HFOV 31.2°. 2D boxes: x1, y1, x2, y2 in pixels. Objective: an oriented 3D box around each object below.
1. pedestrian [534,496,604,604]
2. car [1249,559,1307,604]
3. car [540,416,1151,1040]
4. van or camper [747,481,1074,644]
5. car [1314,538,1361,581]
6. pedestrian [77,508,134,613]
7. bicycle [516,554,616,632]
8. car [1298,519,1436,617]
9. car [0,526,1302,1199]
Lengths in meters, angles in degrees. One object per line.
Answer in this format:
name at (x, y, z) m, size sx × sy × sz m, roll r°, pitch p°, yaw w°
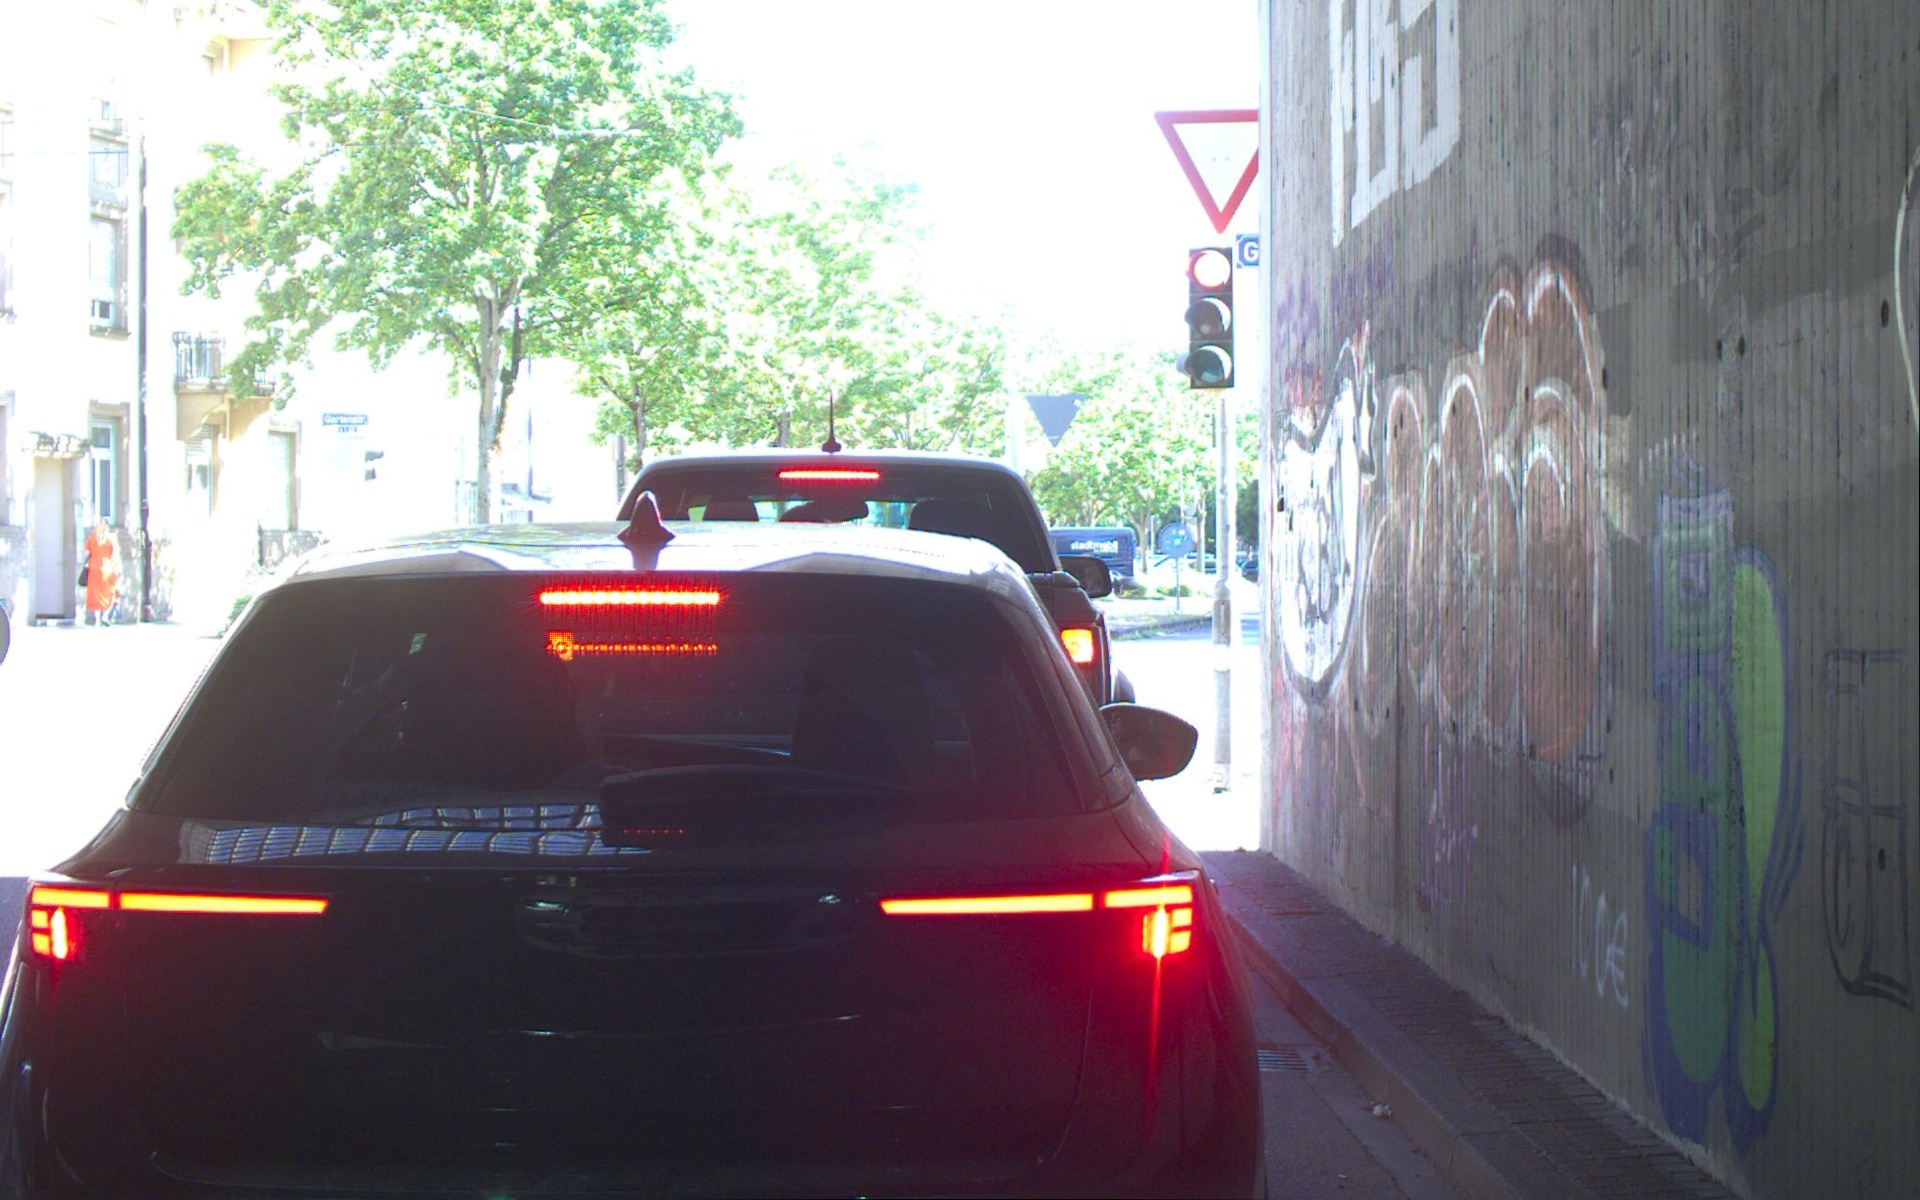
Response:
pedestrian at (-5.840, -0.747, 51.412) m, size 0.736 × 1.579 × 0.889 m, roll 1°, pitch 0°, yaw 15°
car at (10.677, -0.633, 115.324) m, size 1.599 × 1.447 × 3.794 m, roll 0°, pitch 1°, yaw 10°
car at (-0.355, 0.341, 12.135) m, size 1.786 × 1.827 × 3.961 m, roll 1°, pitch 1°, yaw 0°
van or camper at (-0.591, -0.475, 43.424) m, size 3.878 × 2.007 × 2.000 m, roll 0°, pitch 1°, yaw 7°
car at (14.704, -1.578, 133.708) m, size 1.584 × 1.634 × 3.804 m, roll 0°, pitch 1°, yaw 10°
pedestrian at (-14.022, -0.641, 56.431) m, size 0.623 × 1.699 × 0.723 m, roll 1°, pitch 0°, yaw 14°
bicycle at (-5.866, -0.113, 51.337) m, size 0.737 × 1.126 × 2.025 m, roll 0°, pitch 1°, yaw 17°
car at (6.723, -0.544, 56.404) m, size 1.994 × 1.529 × 4.732 m, roll 0°, pitch 1°, yaw 10°
car at (-0.484, 0.631, 6.164) m, size 1.753 × 1.493 × 4.000 m, roll 1°, pitch 1°, yaw 0°
